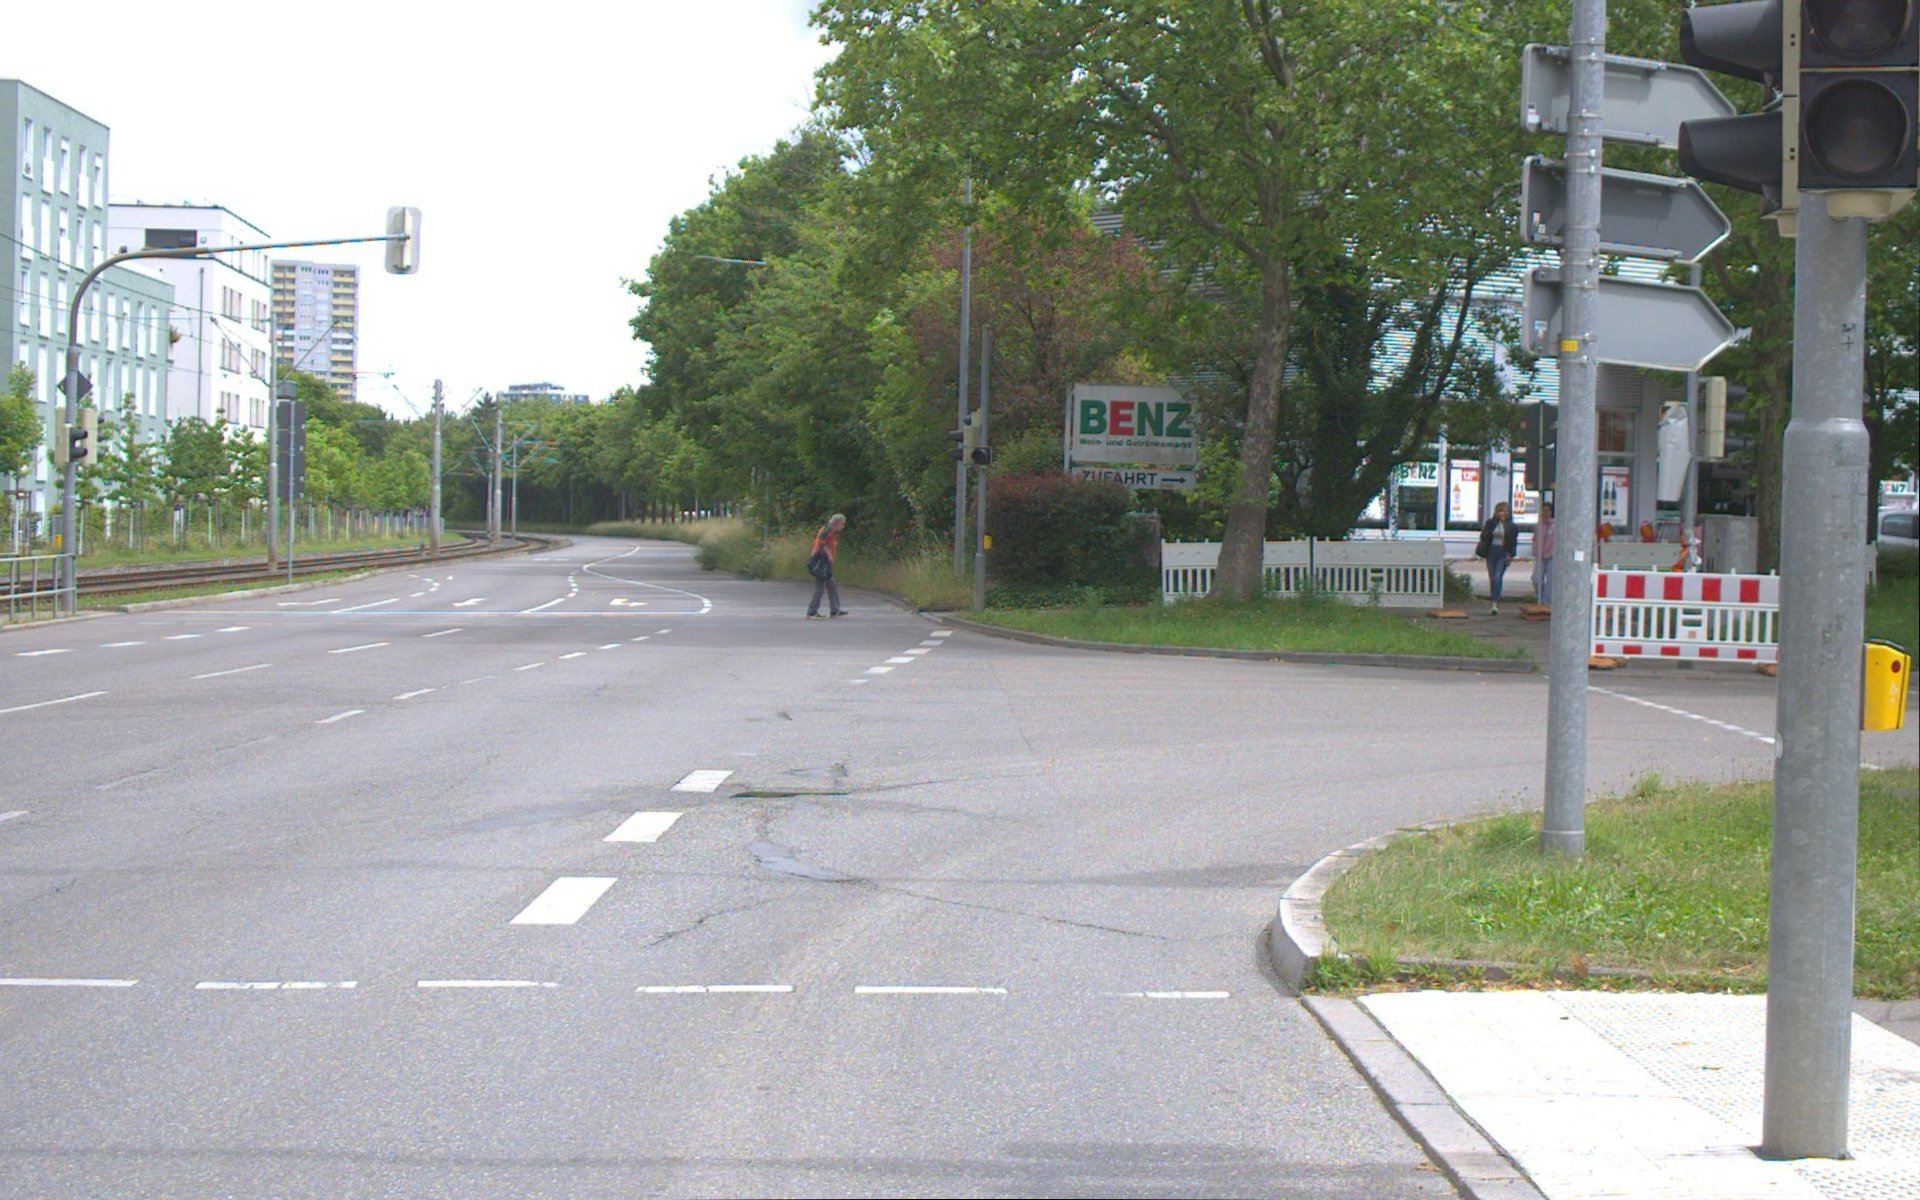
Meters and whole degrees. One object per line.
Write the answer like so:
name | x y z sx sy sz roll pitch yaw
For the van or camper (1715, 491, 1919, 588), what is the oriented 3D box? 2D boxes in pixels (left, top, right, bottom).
van or camper | 15.663 -1.110 61.991 1.840 1.678 4.001 -1 2 -28

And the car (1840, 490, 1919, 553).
car | 21.821 -1.776 78.213 1.480 1.399 3.409 1 1 -31

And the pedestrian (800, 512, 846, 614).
pedestrian | -2.066 -0.558 51.952 0.653 1.533 0.773 1 0 0

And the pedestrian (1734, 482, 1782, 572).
pedestrian | 17.996 -1.640 77.525 0.804 1.995 0.853 1 0 -5

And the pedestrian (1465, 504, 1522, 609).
pedestrian | 7.620 -0.622 49.088 0.718 1.484 0.699 1 0 15

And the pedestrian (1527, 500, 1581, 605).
pedestrian | 8.467 -0.675 48.998 0.686 1.484 0.699 1 0 14
